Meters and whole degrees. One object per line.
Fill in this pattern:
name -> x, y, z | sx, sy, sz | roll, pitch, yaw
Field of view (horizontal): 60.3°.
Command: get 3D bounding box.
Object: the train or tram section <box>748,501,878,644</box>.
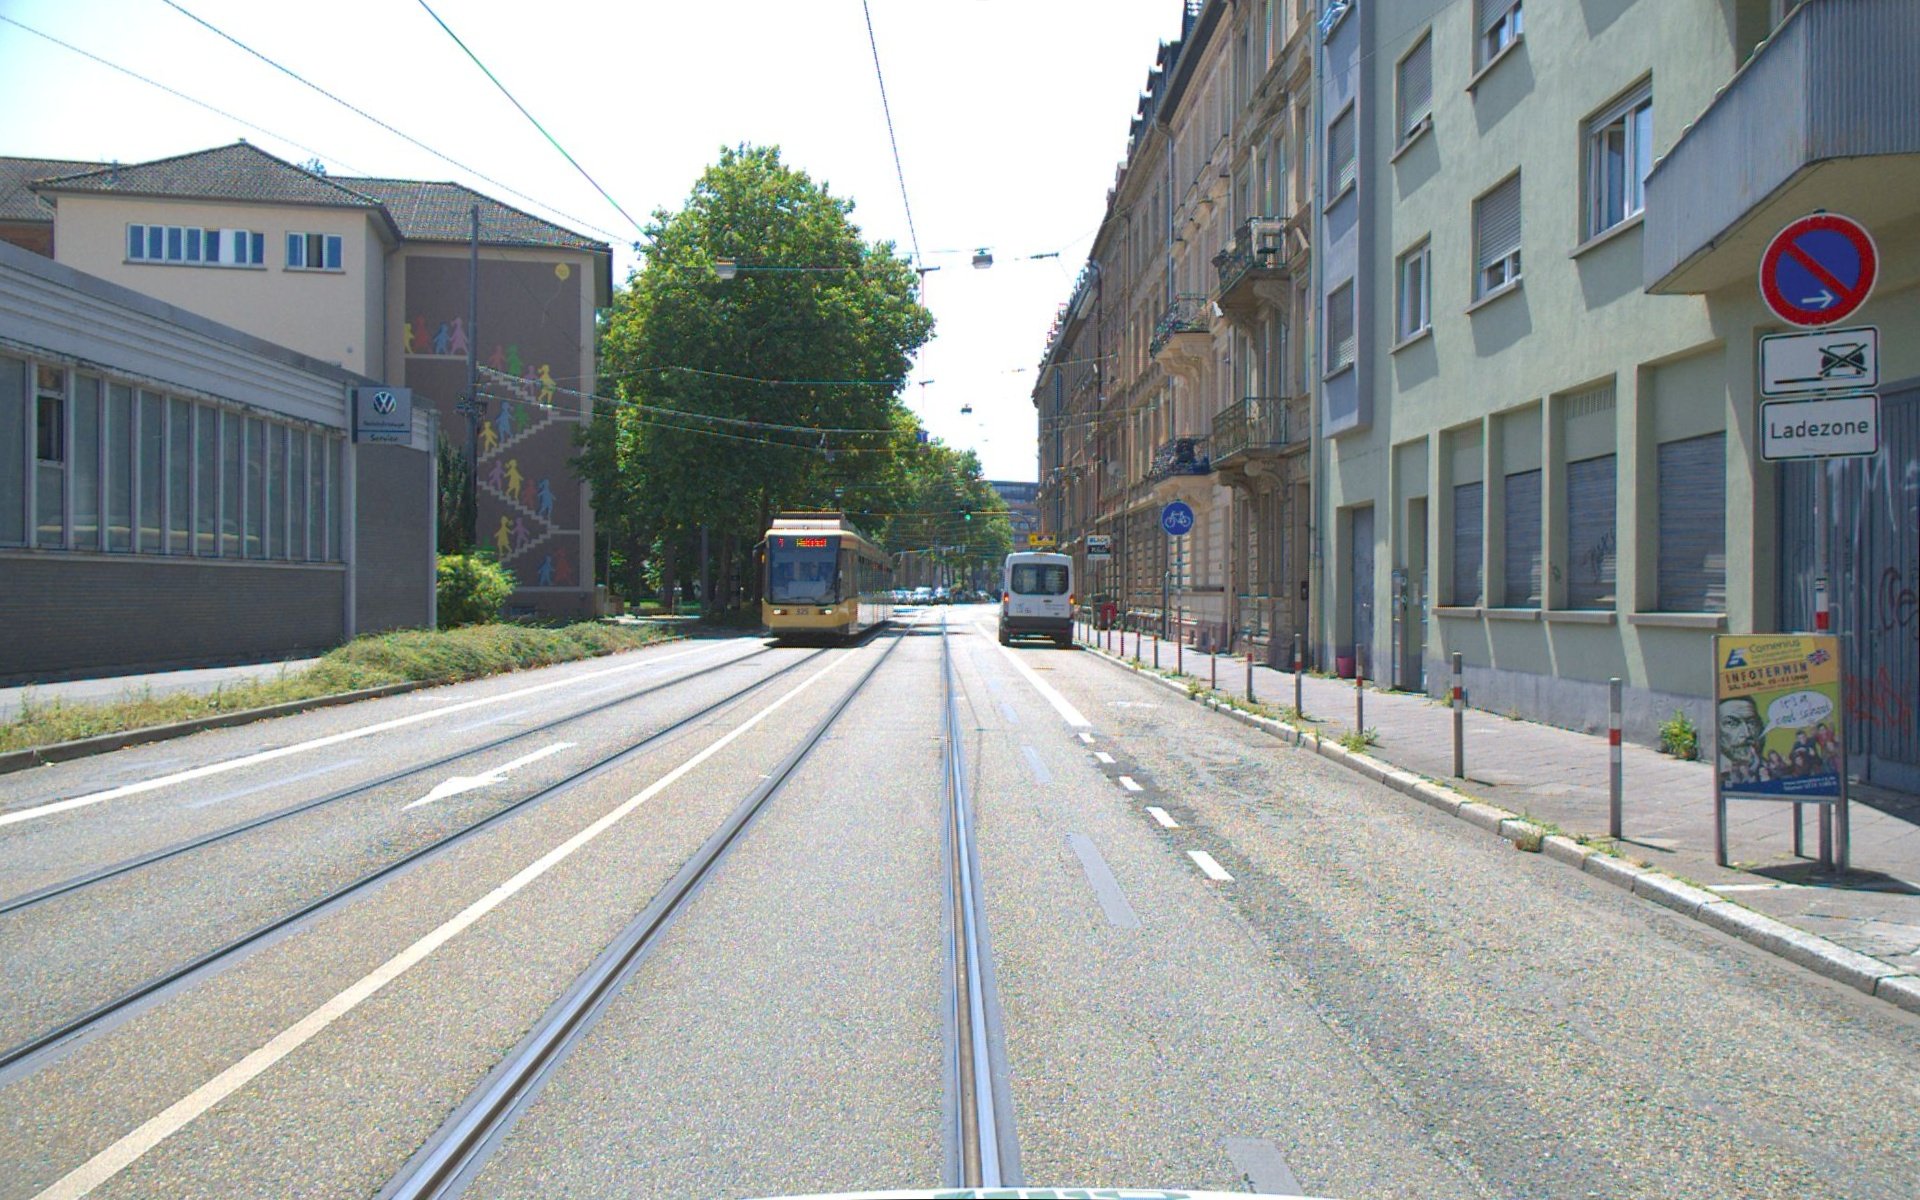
train or tram section -> -4.112, -0.747, 49.248 | 2.900, 3.643, 13.420 | 0, 0, -1

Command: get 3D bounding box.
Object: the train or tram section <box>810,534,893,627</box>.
train or tram section -> -4.537, -0.801, 71.662 | 2.900, 3.643, 13.420 | 0, 0, -1

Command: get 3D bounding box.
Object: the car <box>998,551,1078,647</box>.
car -> 2.171, -0.049, 47.291 | 2.025, 2.544, 5.454 | 1, 0, 0

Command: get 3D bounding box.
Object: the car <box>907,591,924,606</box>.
car -> -4.367, -0.115, 162.068 | 1.497, 1.433, 3.488 | 1, 0, -3

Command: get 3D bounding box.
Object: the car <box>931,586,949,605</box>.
car -> -2.080, -0.427, 168.696 | 1.640, 1.892, 3.997 | 1, 0, -3

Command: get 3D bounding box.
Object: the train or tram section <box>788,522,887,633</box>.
train or tram section -> -4.349, -0.776, 61.419 | 2.900, 3.643, 13.420 | 0, 0, -1
